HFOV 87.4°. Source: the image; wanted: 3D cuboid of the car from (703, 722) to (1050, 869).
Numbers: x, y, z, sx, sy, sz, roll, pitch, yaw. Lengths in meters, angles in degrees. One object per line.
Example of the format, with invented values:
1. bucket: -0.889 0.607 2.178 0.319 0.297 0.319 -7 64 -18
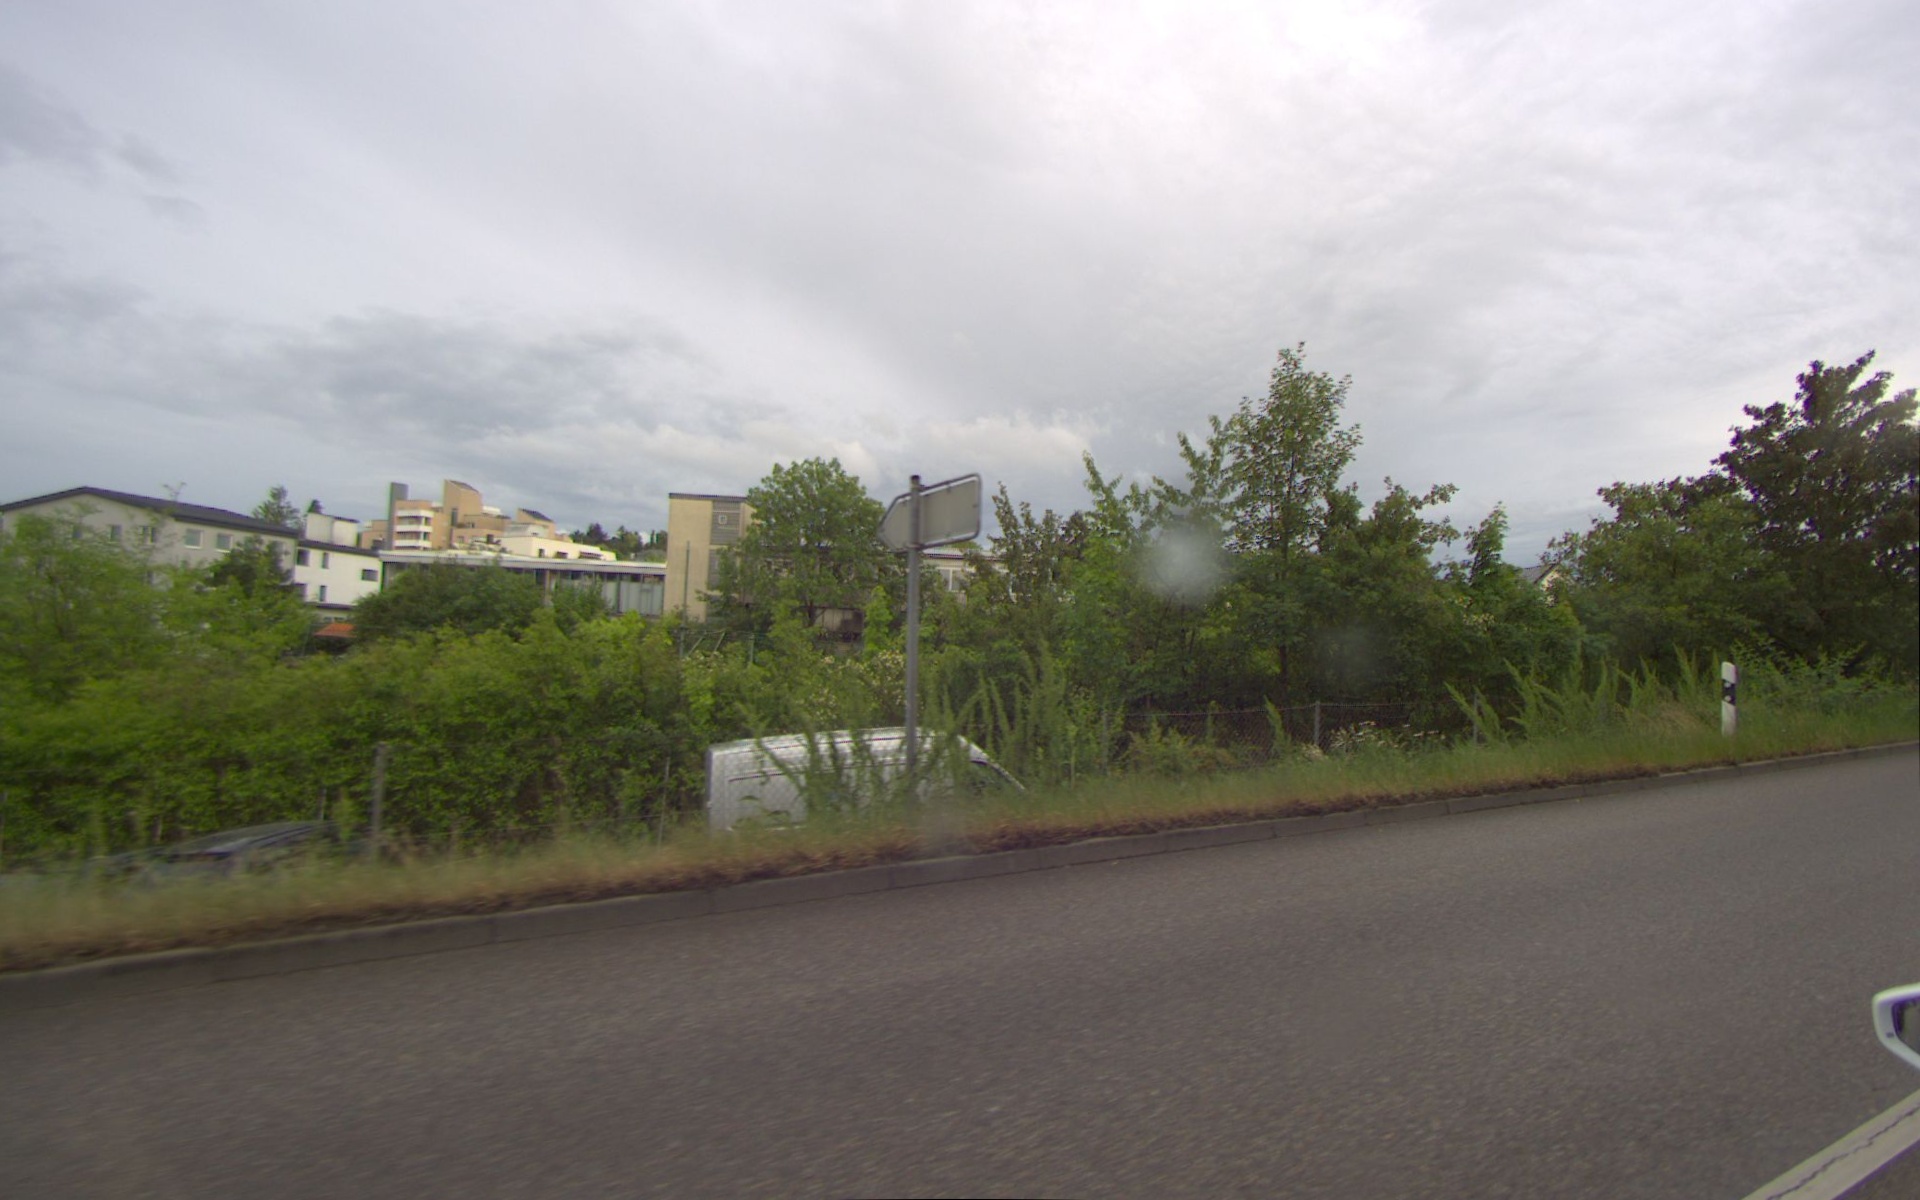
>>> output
1. car: -1.303 2.783 14.963 4.846 1.712 1.985 -1 -6 -16
